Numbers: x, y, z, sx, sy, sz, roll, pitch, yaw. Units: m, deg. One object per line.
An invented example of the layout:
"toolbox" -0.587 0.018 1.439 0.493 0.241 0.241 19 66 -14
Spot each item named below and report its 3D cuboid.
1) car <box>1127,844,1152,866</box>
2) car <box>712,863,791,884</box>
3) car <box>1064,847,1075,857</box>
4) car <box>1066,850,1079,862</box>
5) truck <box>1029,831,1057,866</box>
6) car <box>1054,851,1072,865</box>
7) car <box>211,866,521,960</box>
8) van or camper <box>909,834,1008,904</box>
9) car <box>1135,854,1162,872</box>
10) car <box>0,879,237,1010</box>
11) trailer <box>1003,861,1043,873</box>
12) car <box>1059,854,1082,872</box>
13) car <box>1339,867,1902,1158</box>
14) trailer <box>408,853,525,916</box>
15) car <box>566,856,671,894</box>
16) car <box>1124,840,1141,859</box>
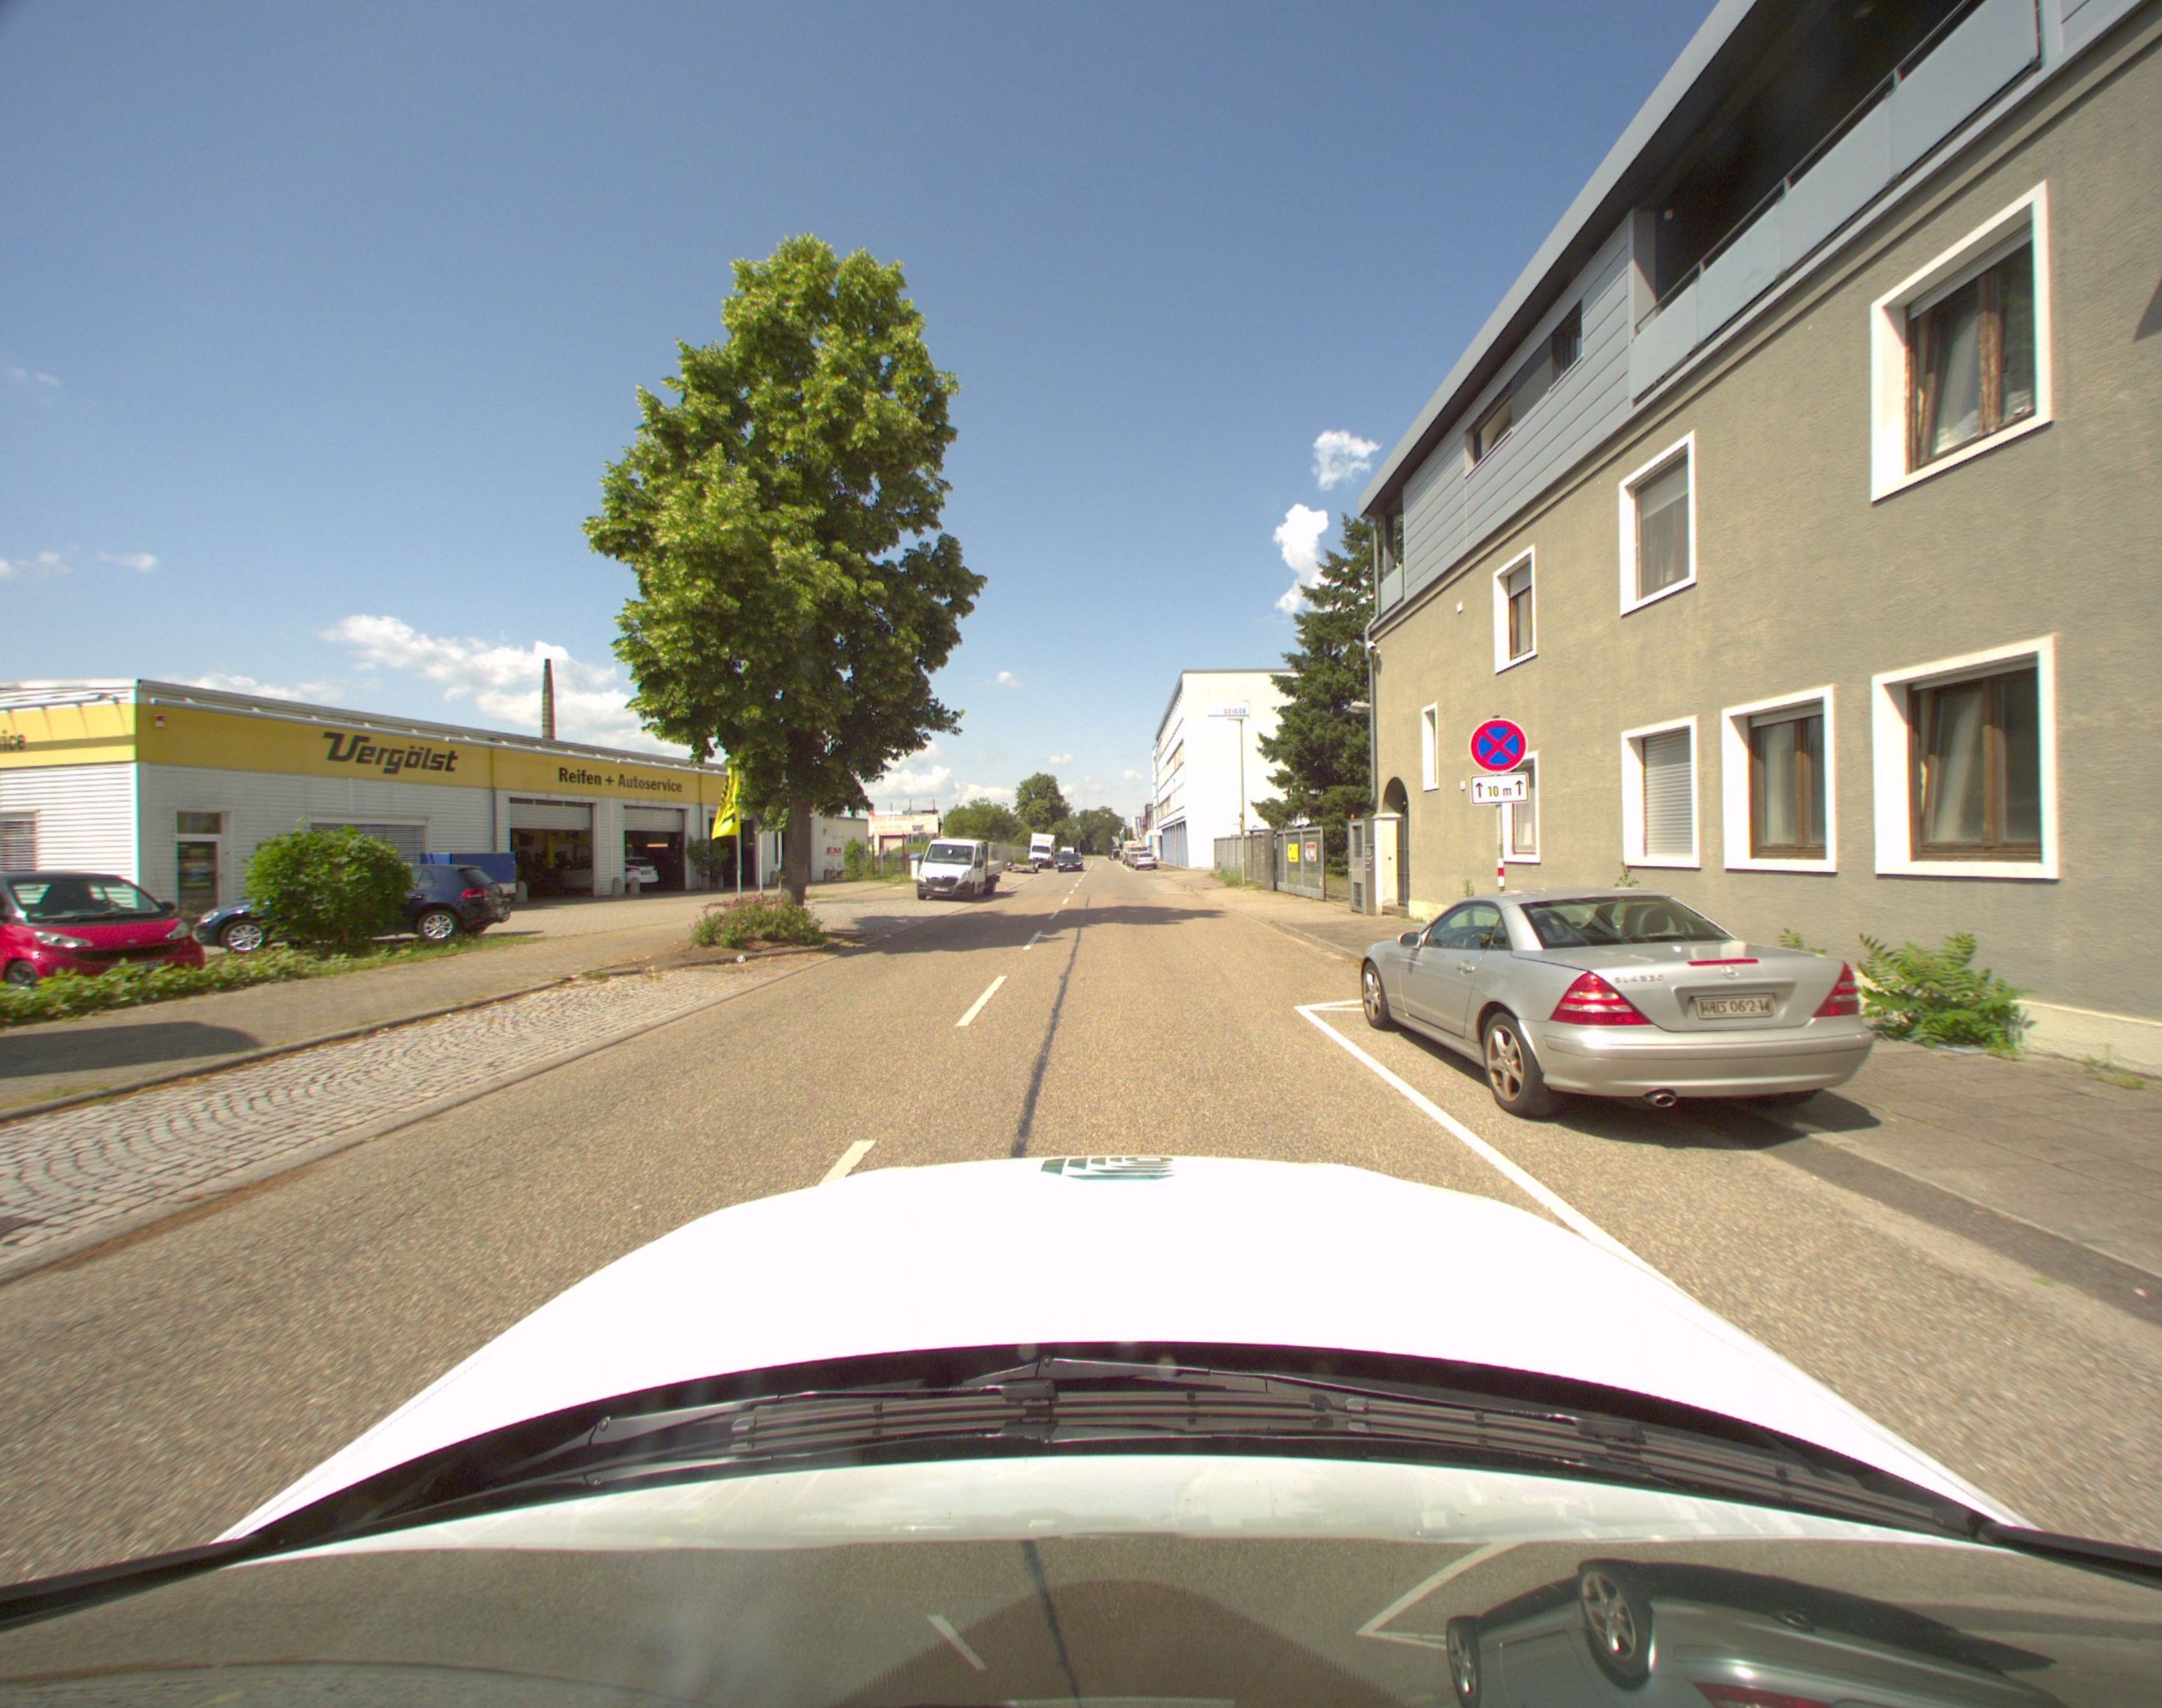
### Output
"car" 5.604 0.057 78.568 2.208 2.013 5.487 -1 0 2
"car" -17.099 1.005 42.273 3.604 1.037 1.549 -1 0 19
"car" -2.208 -0.408 155.116 1.986 1.816 4.002 -1 0 2
"car" -1.260 0.329 119.036 1.706 1.650 4.001 -1 0 2
"truck" -3.510 -0.513 76.770 2.022 3.154 6.502 -1 0 2
"car" -2.127 0.439 99.383 1.986 1.684 4.001 -1 0 1
"car" -12.910 1.003 15.024 3.798 1.377 1.868 -2 1 -18
"van or camper" -4.673 0.509 32.560 2.163 2.413 7.707 -1 0 5
"car" 5.300 0.708 64.699 1.921 1.310 4.001 -1 0 1
"car" -13.381 1.079 10.513 3.809 1.422 1.737 -1 0 13
"trailer" -4.404 0.967 62.674 2.408 0.813 5.540 1 0 2
"car" -0.793 0.674 63.985 1.648 1.324 4.418 -1 0 2
"car" 3.296 0.818 6.001 1.623 1.353 3.925 -1 0 1
"trailer" -17.179 0.828 22.863 1.359 1.649 2.215 -1 0 16
"car" -19.078 0.847 33.568 3.949 1.464 2.002 -1 0 30
"car" 5.602 -0.487 89.026 1.701 2.090 4.001 -1 0 1
